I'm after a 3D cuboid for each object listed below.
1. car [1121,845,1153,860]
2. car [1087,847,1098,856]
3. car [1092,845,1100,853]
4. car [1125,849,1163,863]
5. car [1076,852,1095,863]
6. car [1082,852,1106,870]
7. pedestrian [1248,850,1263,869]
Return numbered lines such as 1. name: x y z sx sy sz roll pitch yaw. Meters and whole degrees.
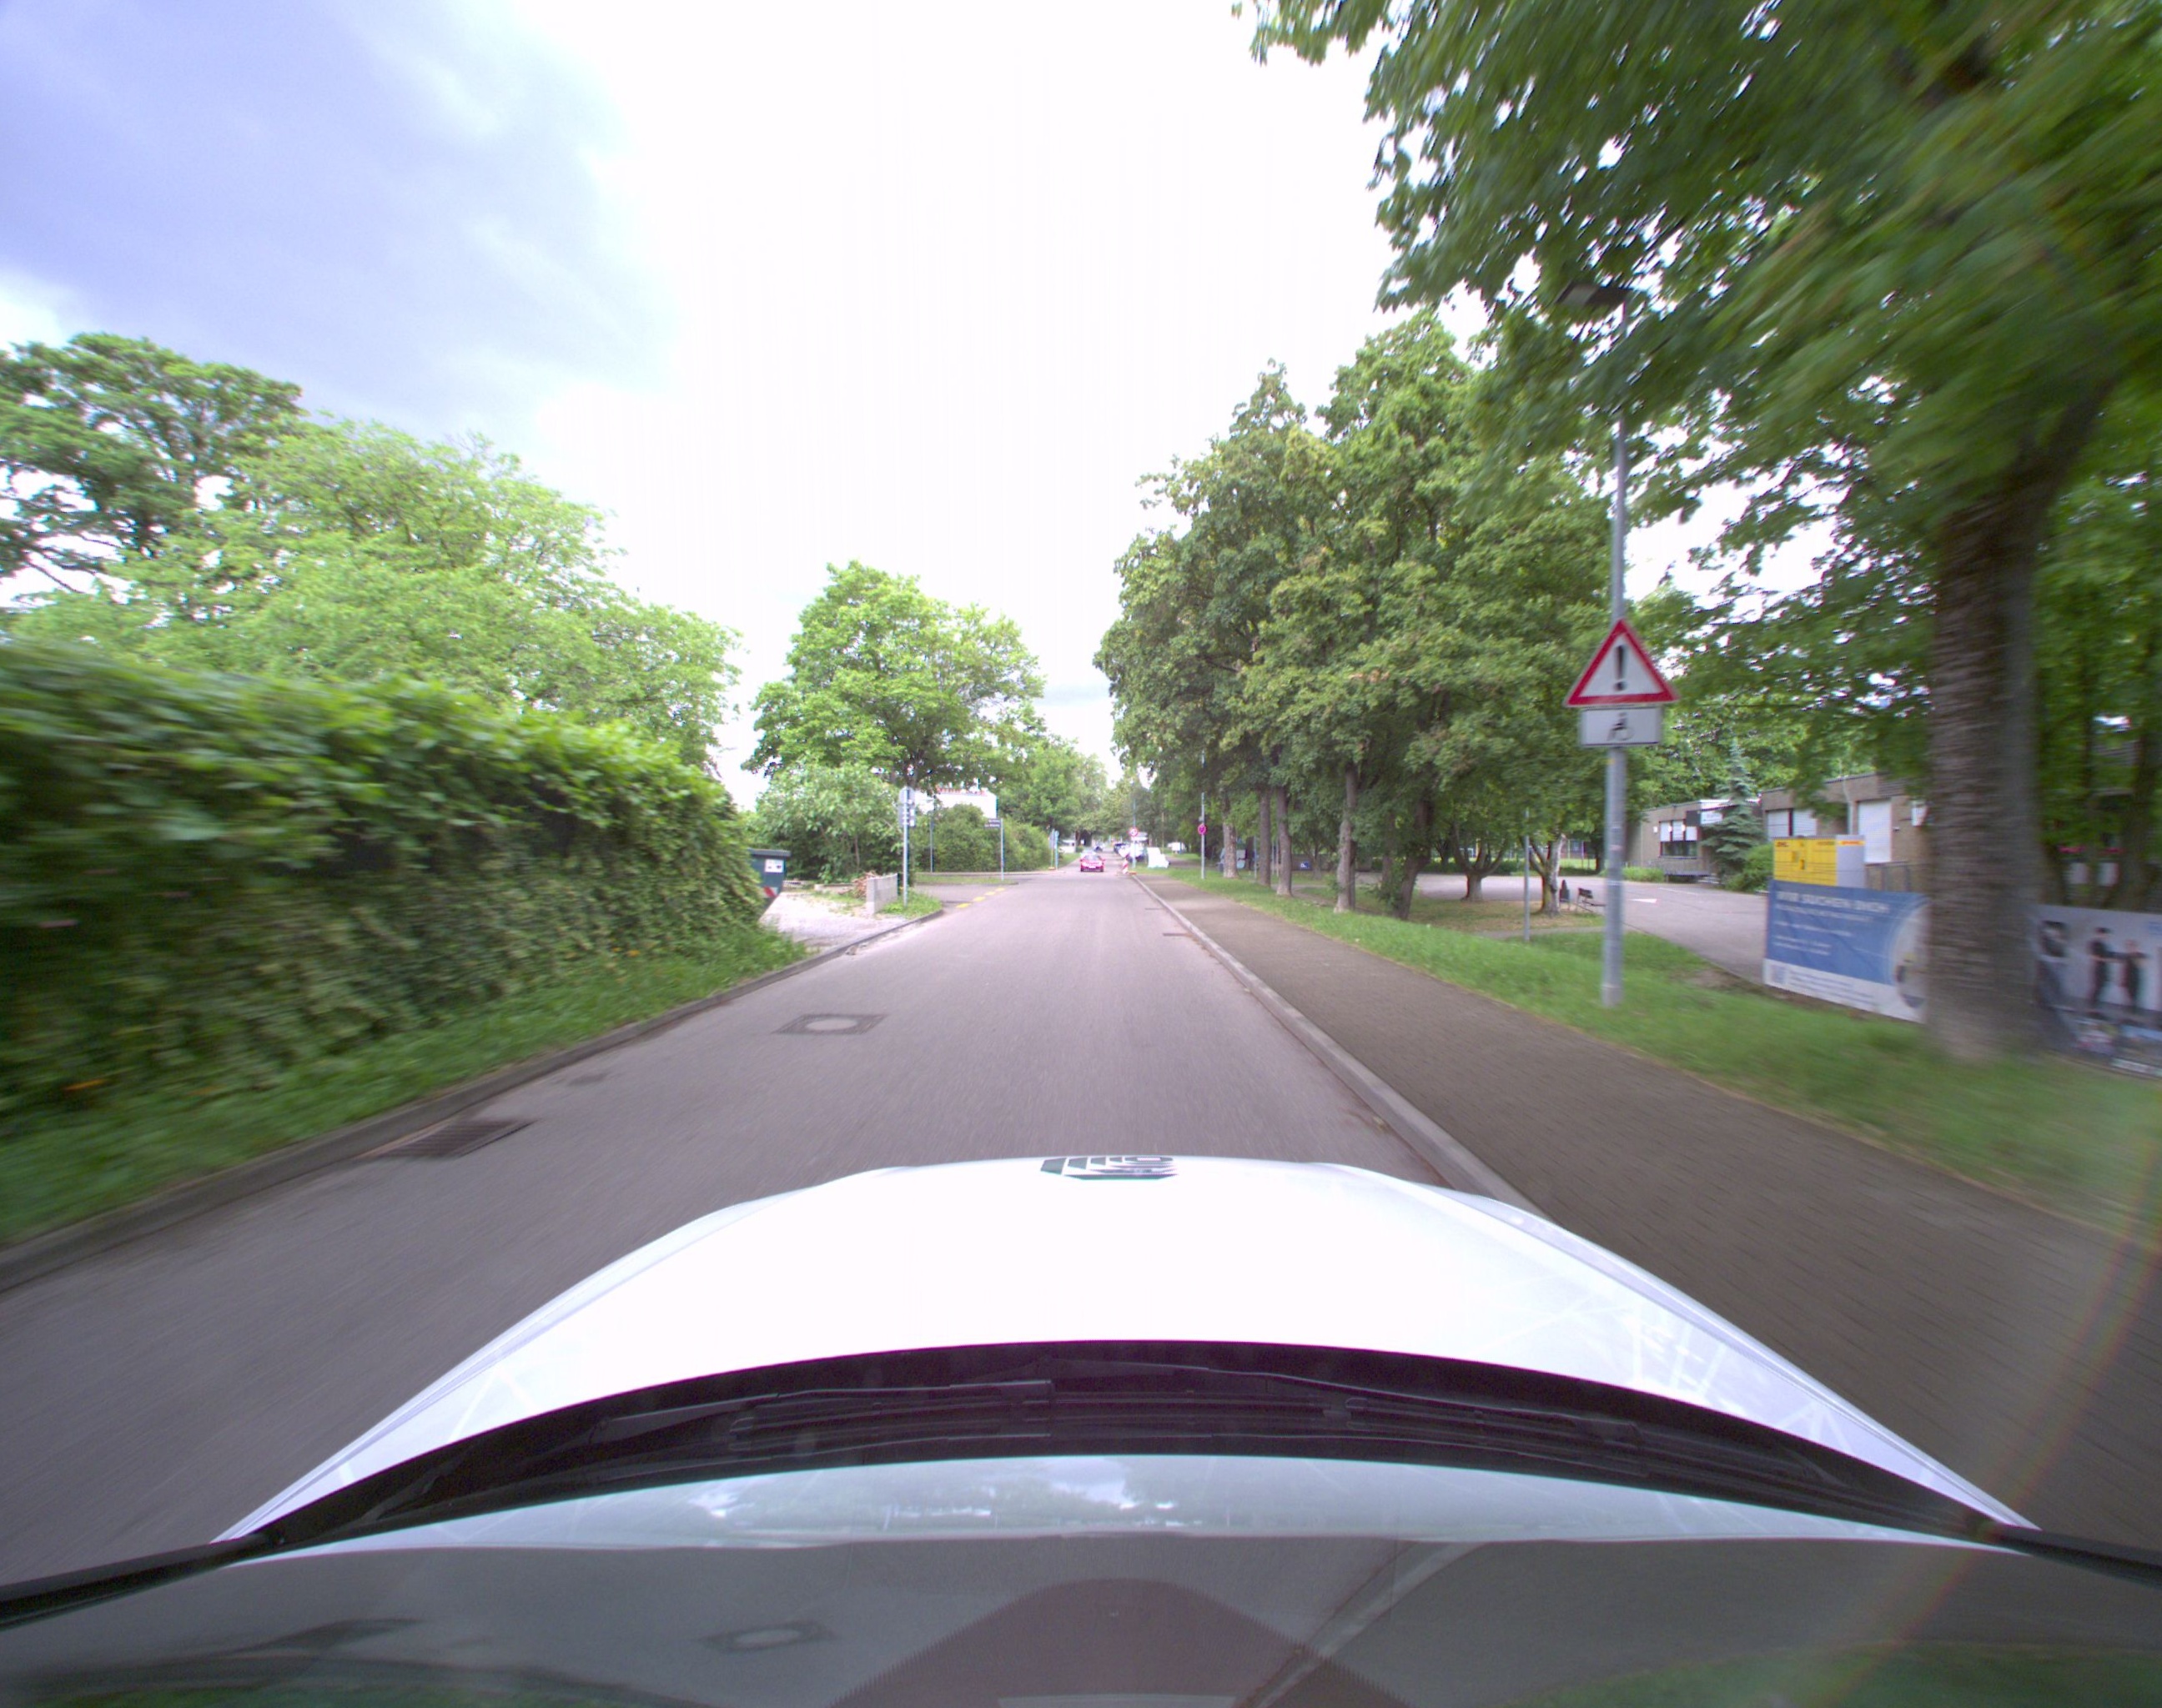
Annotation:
1. car: 7.329 -0.169 106.963 4.053 1.687 1.821 -3 0 -2
2. car: 1.920 -0.412 138.463 1.796 1.591 4.297 1 0 1
3. car: 3.519 -1.239 189.409 1.962 1.747 4.339 1 0 1
4. car: 6.902 0.263 89.250 4.049 1.434 2.000 -1 -1 0
5. car: 0.563 0.373 100.489 1.772 1.306 4.304 1 0 7
6. car: 0.955 0.505 61.728 1.744 1.335 4.065 1 0 0
7. pedestrian: 16.269 0.530 75.963 1.137 1.674 0.798 -2 -2 27
